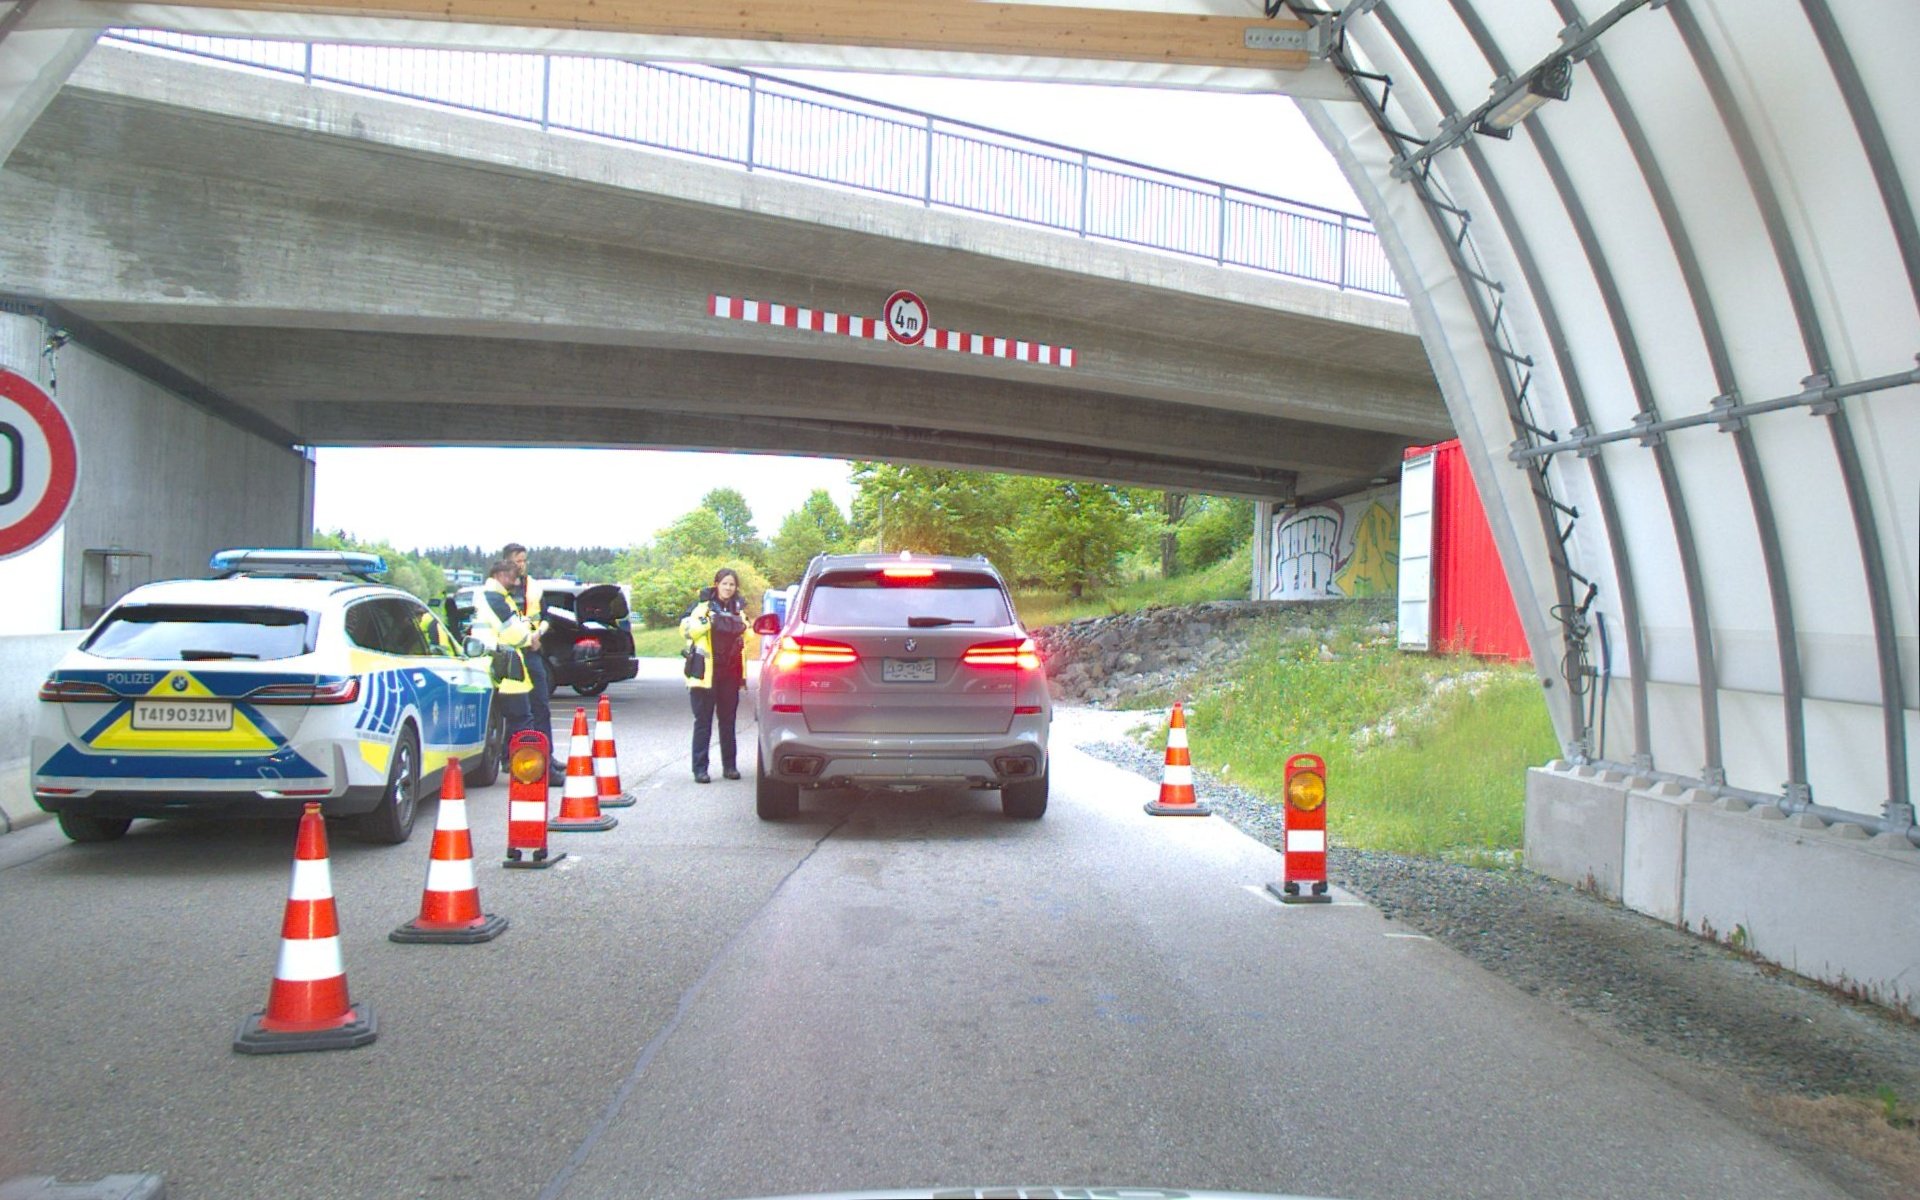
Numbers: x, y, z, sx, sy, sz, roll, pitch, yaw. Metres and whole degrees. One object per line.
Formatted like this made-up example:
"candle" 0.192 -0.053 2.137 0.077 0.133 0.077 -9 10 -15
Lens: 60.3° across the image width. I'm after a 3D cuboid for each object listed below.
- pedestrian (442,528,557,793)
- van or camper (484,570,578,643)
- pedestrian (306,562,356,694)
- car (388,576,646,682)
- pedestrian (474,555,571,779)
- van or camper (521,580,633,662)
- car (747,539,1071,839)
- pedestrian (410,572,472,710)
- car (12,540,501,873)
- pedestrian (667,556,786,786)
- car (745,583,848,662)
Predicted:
"pedestrian" -3.497 0.441 12.620 0.735 1.952 0.761 0 0 -8
"van or camper" -15.997 0.219 61.439 2.081 2.563 5.496 0 0 -29
"pedestrian" -9.973 0.435 26.226 0.613 2.049 0.654 0 0 -10
"car" -8.895 0.559 33.317 4.703 2.049 1.842 0 0 14
"pedestrian" -3.585 0.537 13.580 0.596 1.784 0.666 0 0 1
"van or camper" -13.050 0.674 56.057 2.203 2.597 6.553 0 0 -27
"car" -0.391 0.531 12.042 1.954 1.796 3.998 -1 0 -3
"pedestrian" -7.821 0.612 24.962 0.675 2.049 0.703 0 0 4
"car" -4.139 0.531 10.462 1.842 1.675 3.993 -1 0 -8
"pedestrian" -1.852 0.536 13.088 0.769 1.752 0.751 0 0 -22
"car" -5.182 0.666 51.948 1.970 2.387 3.965 0 0 -27
